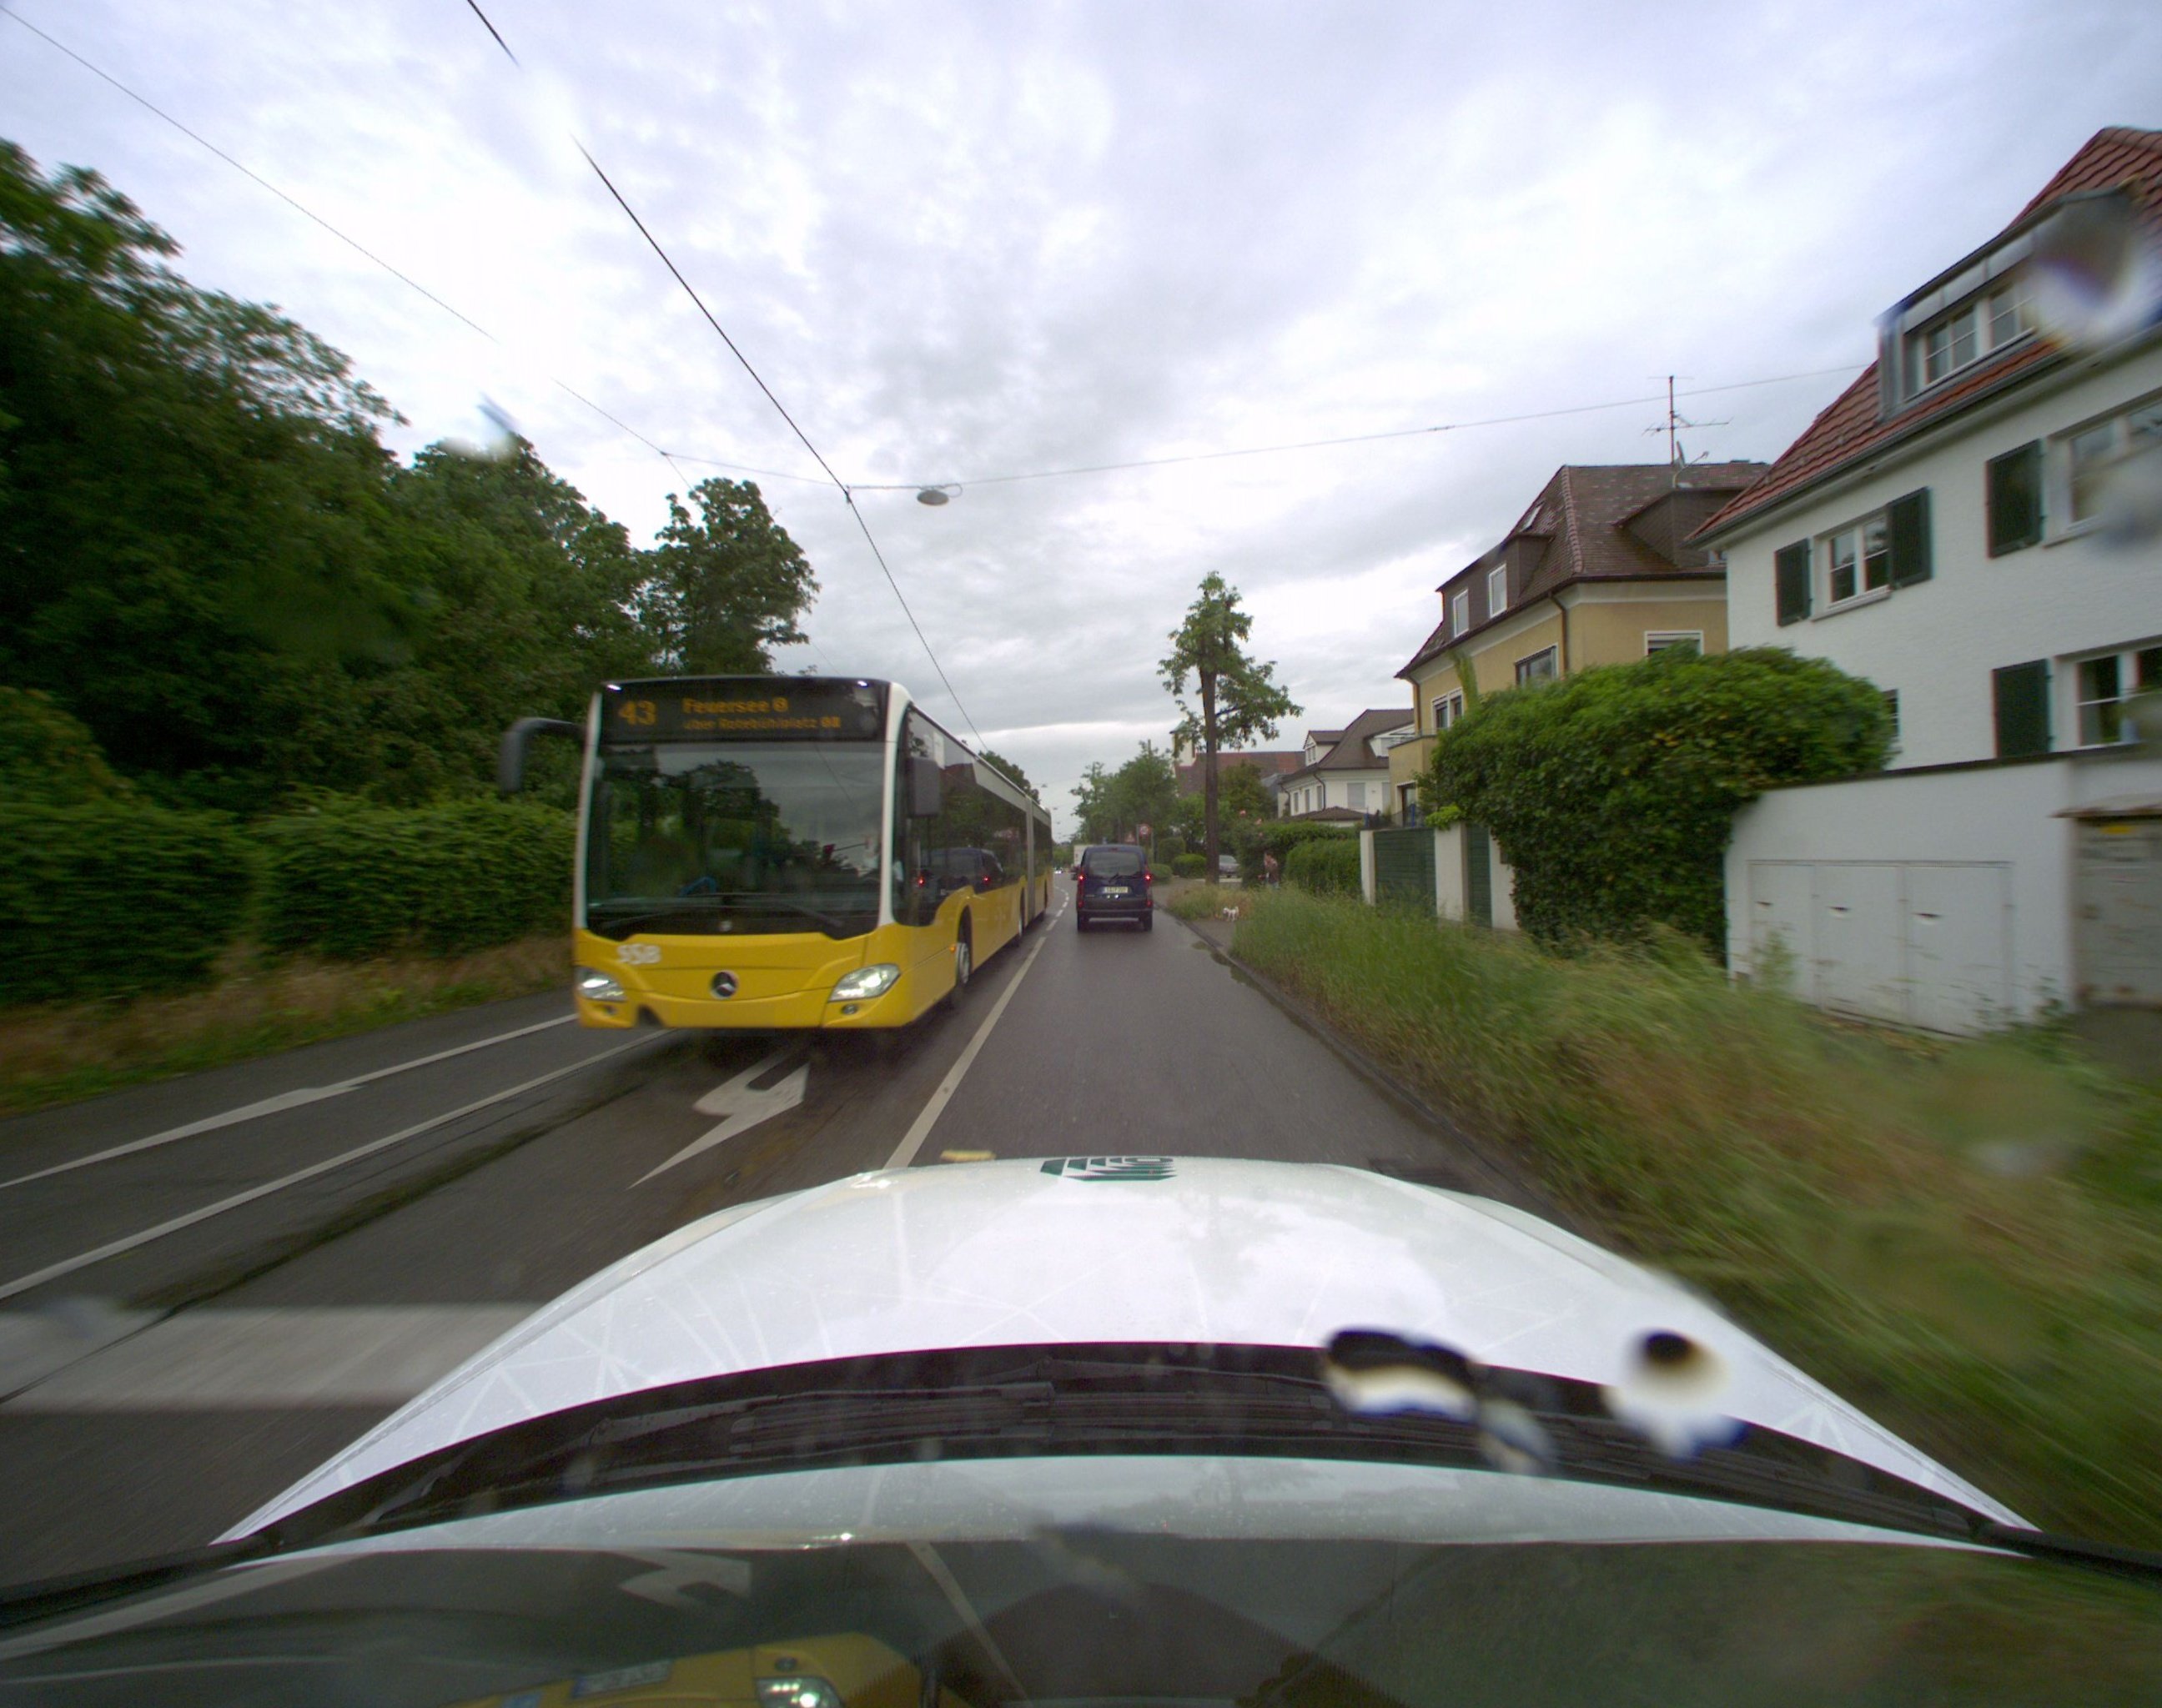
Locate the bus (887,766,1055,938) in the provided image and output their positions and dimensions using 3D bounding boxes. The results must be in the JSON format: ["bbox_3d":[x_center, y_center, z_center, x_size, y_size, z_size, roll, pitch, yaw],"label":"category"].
[{"bbox_3d":[-2.172,-0.006,19.362,2.585,3.158,8.637,-1,0,1],"label":"bus"}]

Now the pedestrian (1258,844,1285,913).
[{"bbox_3d":[4.303,0.549,18.393,0.480,1.534,0.439,0,-1,-2],"label":"pedestrian"}]

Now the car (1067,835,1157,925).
[{"bbox_3d":[0.658,0.541,18.619,1.803,1.797,4.000,-2,0,1],"label":"car"}]

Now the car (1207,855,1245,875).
[{"bbox_3d":[9.064,0.681,51.193,1.824,1.176,4.003,0,0,3],"label":"car"}]

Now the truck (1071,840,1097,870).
[{"bbox_3d":[0.336,0.105,96.690,2.725,3.387,6.678,-2,0,-3],"label":"truck"}]

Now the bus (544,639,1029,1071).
[{"bbox_3d":[-2.397,0.034,10.408,2.634,3.044,9.232,-1,0,1],"label":"bus"}]
